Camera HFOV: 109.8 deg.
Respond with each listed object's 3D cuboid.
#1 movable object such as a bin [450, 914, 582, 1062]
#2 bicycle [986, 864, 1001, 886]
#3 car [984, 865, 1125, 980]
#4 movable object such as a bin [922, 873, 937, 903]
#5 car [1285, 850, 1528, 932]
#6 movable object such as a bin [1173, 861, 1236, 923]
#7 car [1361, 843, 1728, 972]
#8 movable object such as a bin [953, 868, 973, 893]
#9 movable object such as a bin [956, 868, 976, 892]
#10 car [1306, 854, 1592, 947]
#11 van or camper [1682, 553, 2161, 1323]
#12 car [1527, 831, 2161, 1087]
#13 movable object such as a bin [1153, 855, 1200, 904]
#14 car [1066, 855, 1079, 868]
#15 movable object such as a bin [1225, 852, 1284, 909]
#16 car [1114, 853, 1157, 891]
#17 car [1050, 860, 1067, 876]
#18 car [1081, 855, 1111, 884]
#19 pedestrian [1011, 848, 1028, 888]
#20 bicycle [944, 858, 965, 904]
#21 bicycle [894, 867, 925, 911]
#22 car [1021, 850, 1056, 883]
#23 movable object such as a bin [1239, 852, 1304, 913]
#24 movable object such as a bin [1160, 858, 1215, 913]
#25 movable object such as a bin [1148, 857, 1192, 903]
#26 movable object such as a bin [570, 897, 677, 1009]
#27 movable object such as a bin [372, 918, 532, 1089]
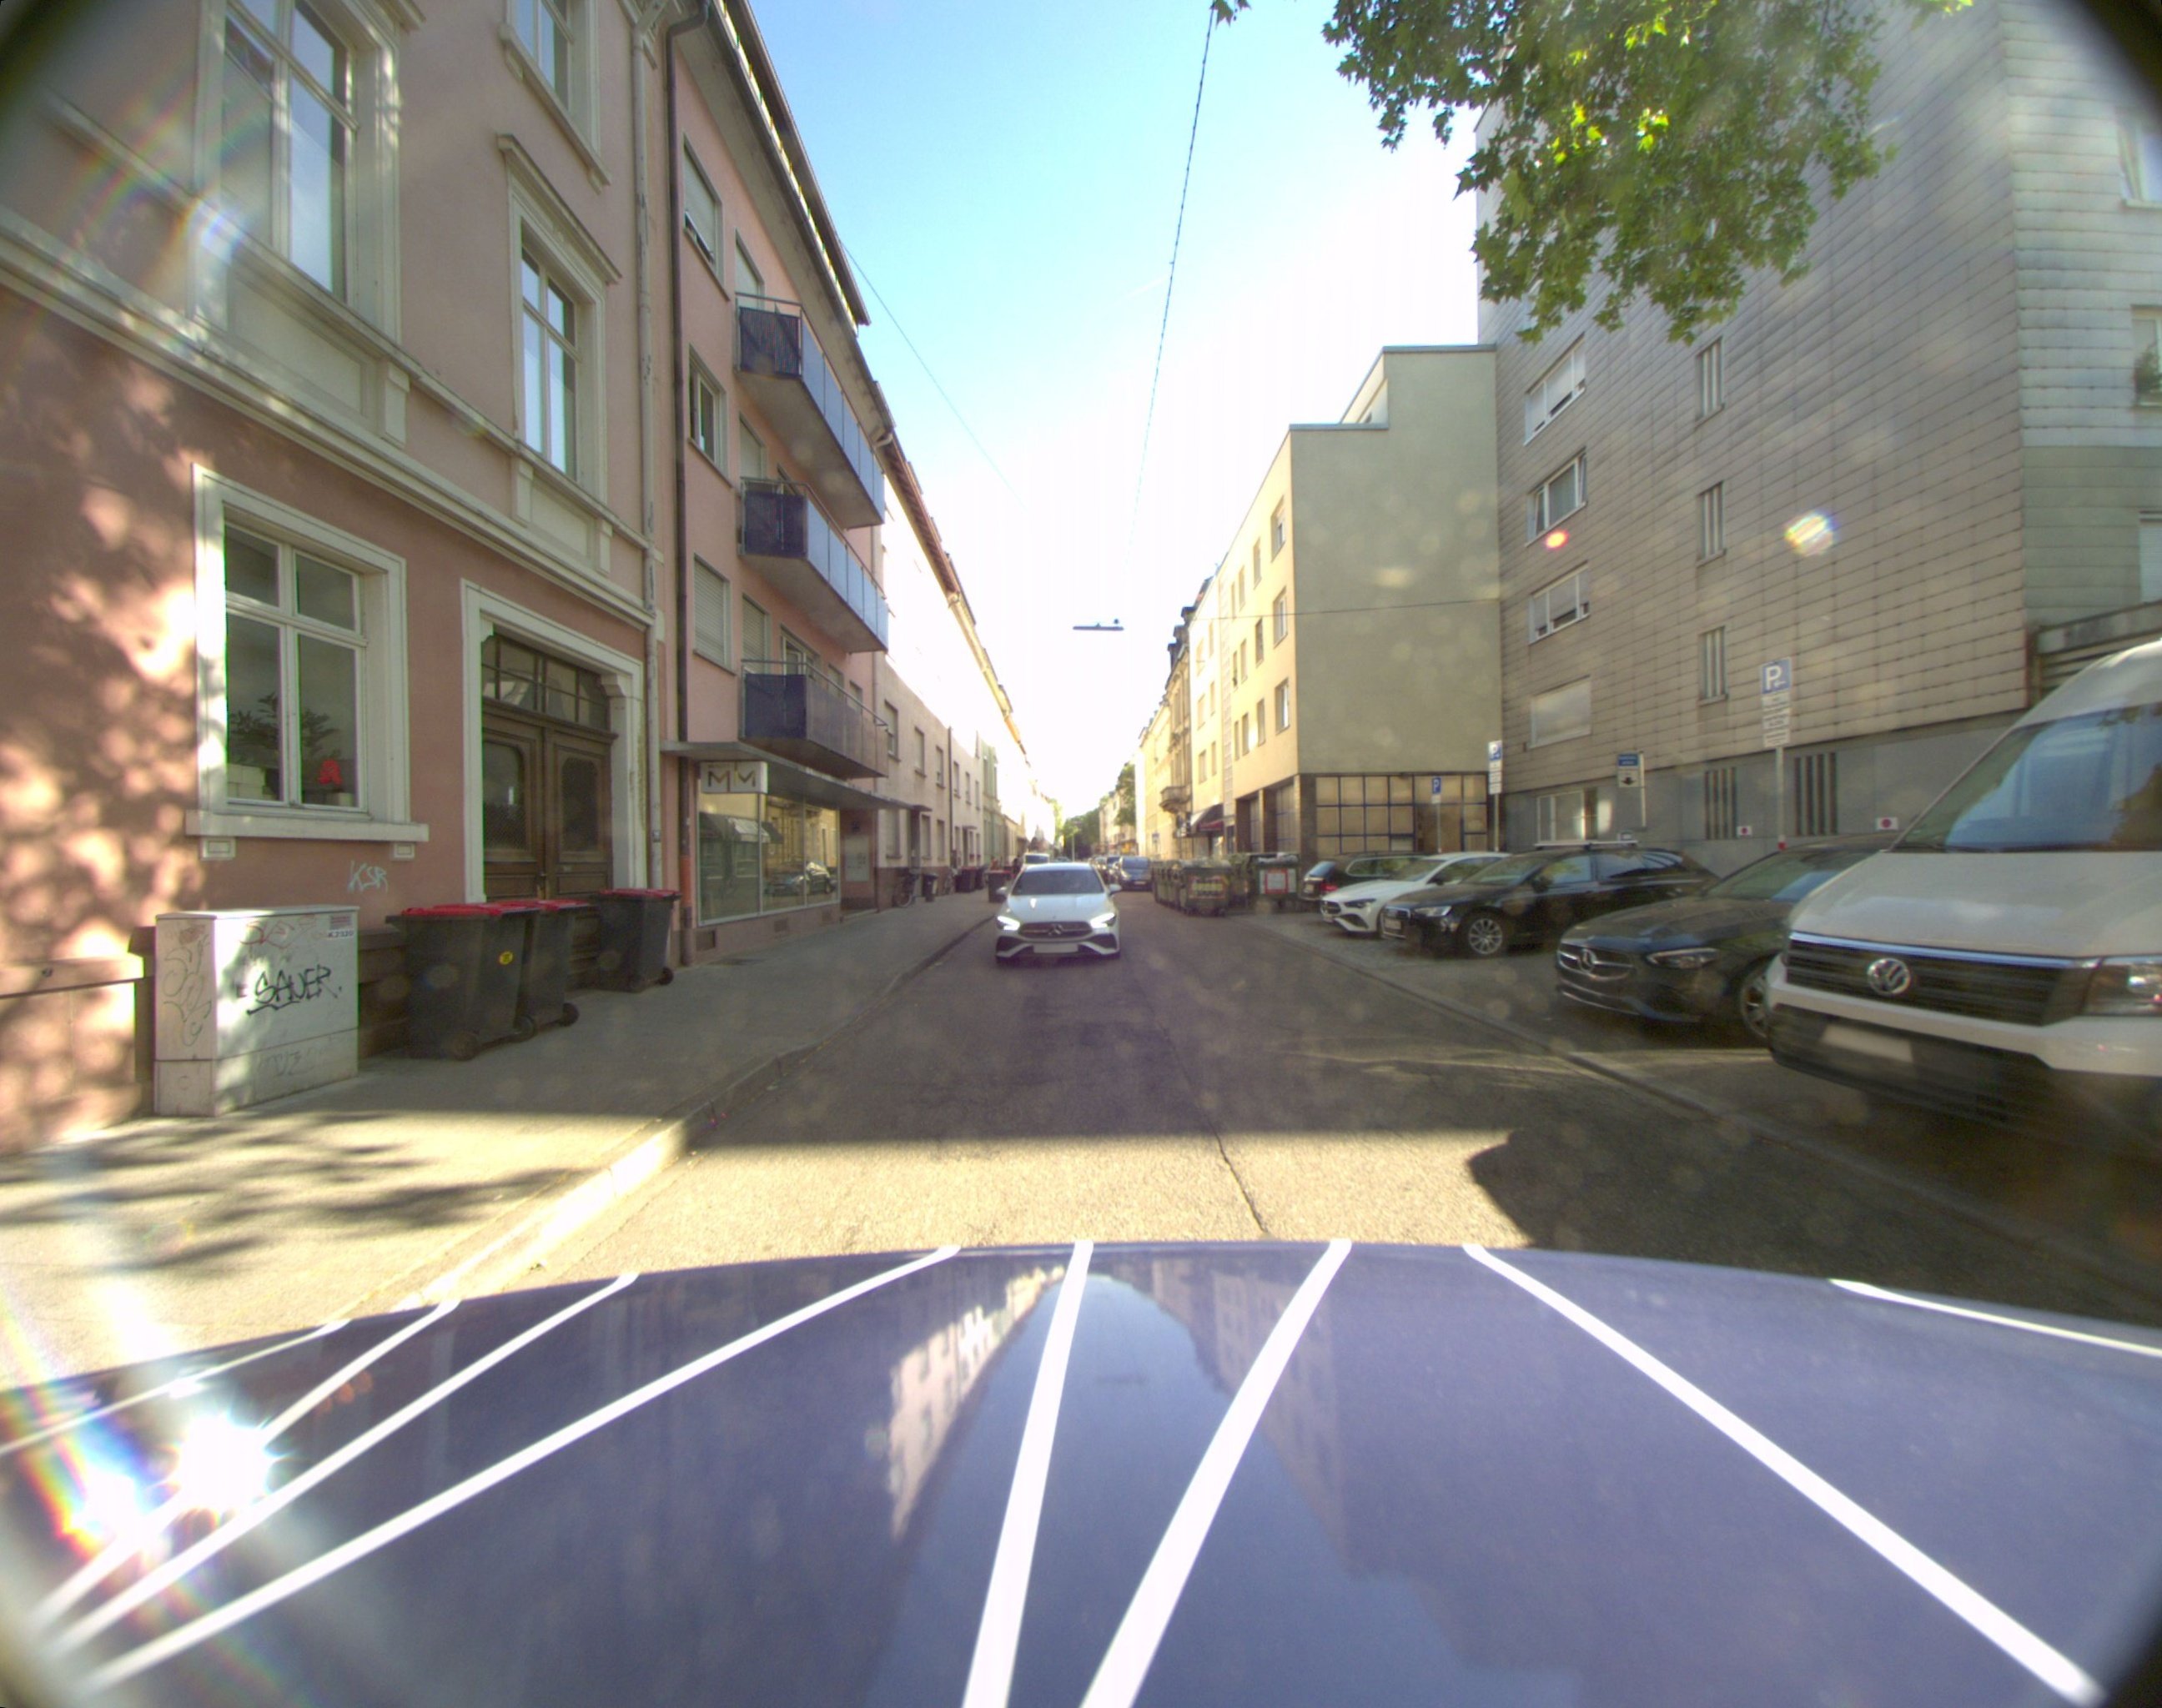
[{"bbox_3d":[-4.451,1.035,6.023,0.570,1.052,0.612,2,0,-2],"label":"movable object such as a bin"},{"bbox_3d":[-4.570,1.101,39.815,0.490,1.089,1.933,-1,0,1],"label":"bicycle"},{"bbox_3d":[-0.324,0.958,12.538,1.862,1.448,4.563,-2,0,1],"label":"car"},{"bbox_3d":[-4.873,1.099,24.420,0.416,0.934,0.302,2,0,-2],"label":"movable object such as a bin"},{"bbox_3d":[6.770,0.744,16.029,4.417,1.524,1.698,-1,0,-6],"label":"car"},{"bbox_3d":[3.197,0.964,19.924,1.241,1.491,1.877,3,0,-2],"label":"movable object such as a bin"},{"bbox_3d":[6.598,0.705,11.052,4.417,1.607,1.698,-1,0,-6],"label":"car"},{"bbox_3d":[-4.858,1.105,31.349,0.717,0.996,0.546,2,0,-2],"label":"movable object such as a bin"},{"bbox_3d":[-4.859,1.090,32.166,0.717,0.996,0.546,2,0,-2],"label":"movable object such as a bin"},{"bbox_3d":[6.494,0.775,13.631,4.417,1.454,1.599,-1,0,-6],"label":"car"},{"bbox_3d":[7.030,0.064,3.388,6.922,2.559,2.000,-4,0,1],"label":"van or camper"},{"bbox_3d":[6.291,0.710,6.071,4.415,1.524,1.699,-3,0,-1],"label":"car"},{"bbox_3d":[3.010,0.783,24.057,1.222,1.491,1.560,-1,0,-2],"label":"movable object such as a bin"},{"bbox_3d":[-1.166,1.058,109.352,1.765,1.698,4.327,-1,0,0],"label":"car"},{"bbox_3d":[4.743,0.702,20.861,1.222,1.491,1.517,-1,0,-2],"label":"movable object such as a bin"},{"bbox_3d":[2.526,0.813,36.136,1.765,1.698,4.328,-1,0,1],"label":"car"},{"bbox_3d":[-2.440,1.541,83.829,1.765,1.698,4.327,-1,0,0],"label":"car"},{"bbox_3d":[0.935,0.927,47.056,1.765,1.698,4.328,-1,0,1],"label":"car"},{"bbox_3d":[-3.139,0.685,38.660,0.761,2.002,0.771,-1,0,1],"label":"pedestrian"},{"bbox_3d":[-4.918,1.017,29.597,0.402,1.725,2.107,-1,0,1],"label":"bicycle"},{"bbox_3d":[-4.869,0.967,21.669,0.402,1.143,2.025,-1,0,1],"label":"bicycle"},{"bbox_3d":[-2.497,0.744,45.708,1.765,1.843,4.328,-1,0,1],"label":"car"},{"bbox_3d":[4.849,0.711,19.421,1.328,1.491,1.195,-1,0,-2],"label":"movable object such as a bin"},{"bbox_3d":[3.064,0.871,22.033,1.247,1.491,1.925,-1,0,-2],"label":"movable object such as a bin"},{"bbox_3d":[2.985,0.859,25.674,1.222,1.491,1.560,-1,0,-2],"label":"movable object such as a bin"},{"bbox_3d":[-4.773,1.013,7.966,0.718,1.078,0.618,2,0,-2],"label":"movable object such as a bin"},{"bbox_3d":[-4.435,1.026,5.402,0.570,1.078,0.654,2,0,-2],"label":"movable object such as a bin"}]
